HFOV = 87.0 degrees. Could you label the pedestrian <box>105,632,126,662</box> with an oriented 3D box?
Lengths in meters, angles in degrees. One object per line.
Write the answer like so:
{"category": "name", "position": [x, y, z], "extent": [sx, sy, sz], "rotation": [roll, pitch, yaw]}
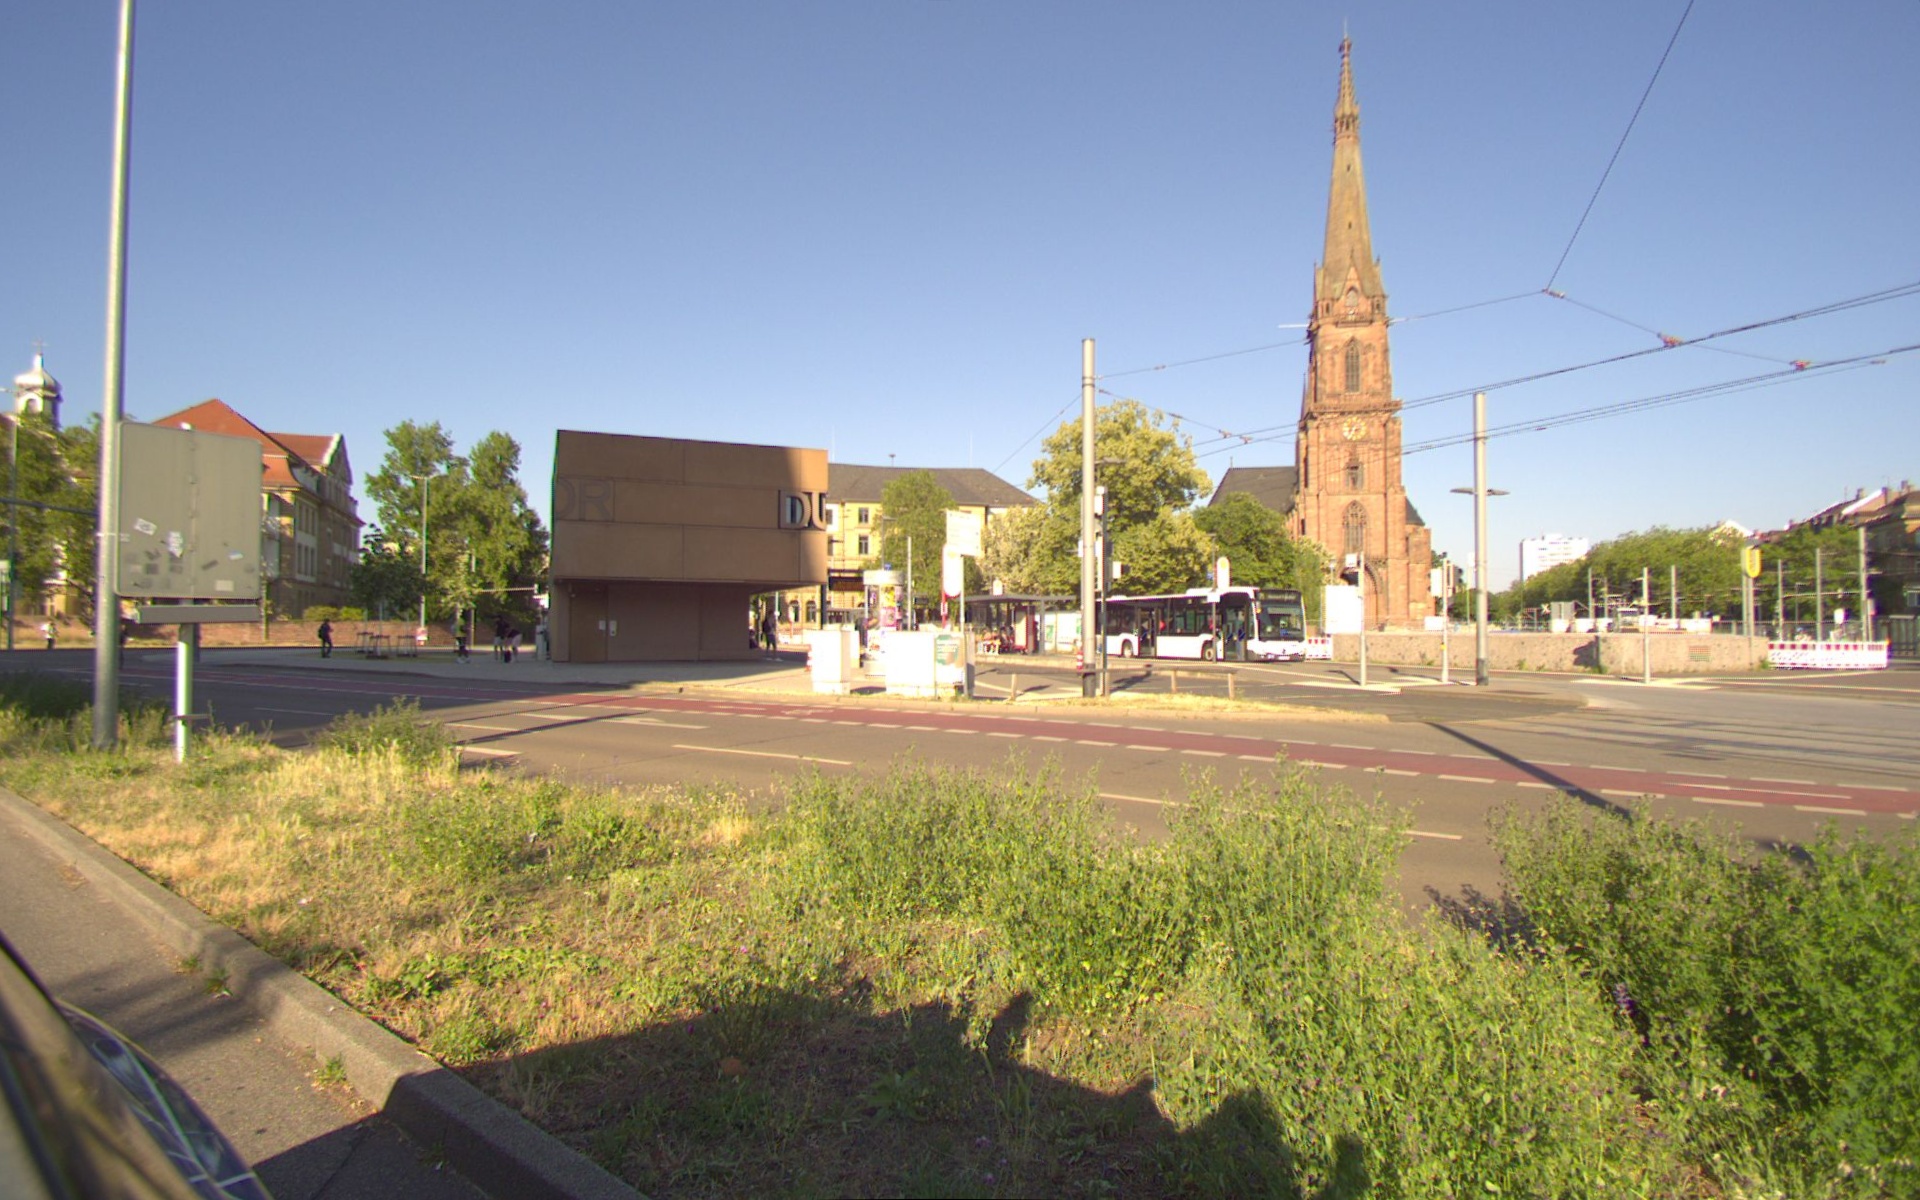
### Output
{"category": "pedestrian", "position": [-48.556, 2.706, 58.205], "extent": [0.780, 1.665, 0.715], "rotation": [3, -1, -33]}

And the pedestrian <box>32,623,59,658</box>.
{"category": "pedestrian", "position": [-51.093, 2.267, 56.567], "extent": [0.710, 1.908, 0.864], "rotation": [3, -1, 29]}

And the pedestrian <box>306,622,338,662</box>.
{"category": "pedestrian", "position": [-27.447, 1.789, 43.536], "extent": [0.745, 1.698, 0.890], "rotation": [-2, -3, 31]}

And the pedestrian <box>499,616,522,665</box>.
{"category": "pedestrian", "position": [-16.270, 1.454, 36.645], "extent": [0.723, 1.744, 0.667], "rotation": [-1, -3, -24]}

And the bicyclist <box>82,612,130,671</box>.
{"category": "bicyclist", "position": [-27.008, 1.299, 32.009], "extent": [1.007, 1.846, 0.737], "rotation": [0, -1, 23]}

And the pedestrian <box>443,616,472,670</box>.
{"category": "pedestrian", "position": [-17.476, 1.493, 35.223], "extent": [0.639, 1.849, 0.708], "rotation": [-4, -3, 41]}

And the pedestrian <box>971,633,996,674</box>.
{"category": "pedestrian", "position": [1.165, 2.677, 50.727], "extent": [0.979, 1.997, 0.831], "rotation": [1, -3, -21]}

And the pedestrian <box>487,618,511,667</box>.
{"category": "pedestrian", "position": [-16.228, 1.485, 35.620], "extent": [0.629, 1.702, 0.551], "rotation": [0, -3, -36]}

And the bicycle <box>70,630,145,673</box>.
{"category": "bicycle", "position": [-26.940, 1.607, 31.969], "extent": [2.540, 1.265, 0.736], "rotation": [0, -1, 23]}

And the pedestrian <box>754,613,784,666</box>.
{"category": "pedestrian", "position": [-7.312, 1.509, 38.774], "extent": [0.964, 1.997, 0.721], "rotation": [1, -3, -23]}

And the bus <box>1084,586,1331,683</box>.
{"category": "bus", "position": [9.714, 1.230, 42.245], "extent": [3.194, 3.342, 12.228], "rotation": [4, -1, -23]}

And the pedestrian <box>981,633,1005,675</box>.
{"category": "pedestrian", "position": [1.598, 2.598, 49.010], "extent": [0.964, 1.997, 0.721], "rotation": [1, -3, -21]}

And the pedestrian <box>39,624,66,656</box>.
{"category": "pedestrian", "position": [-50.287, 2.223, 56.081], "extent": [0.710, 1.686, 0.864], "rotation": [3, -1, 29]}

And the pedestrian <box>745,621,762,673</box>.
{"category": "pedestrian", "position": [-8.377, 1.900, 40.979], "extent": [0.604, 2.029, 0.809], "rotation": [-1, -2, -13]}
